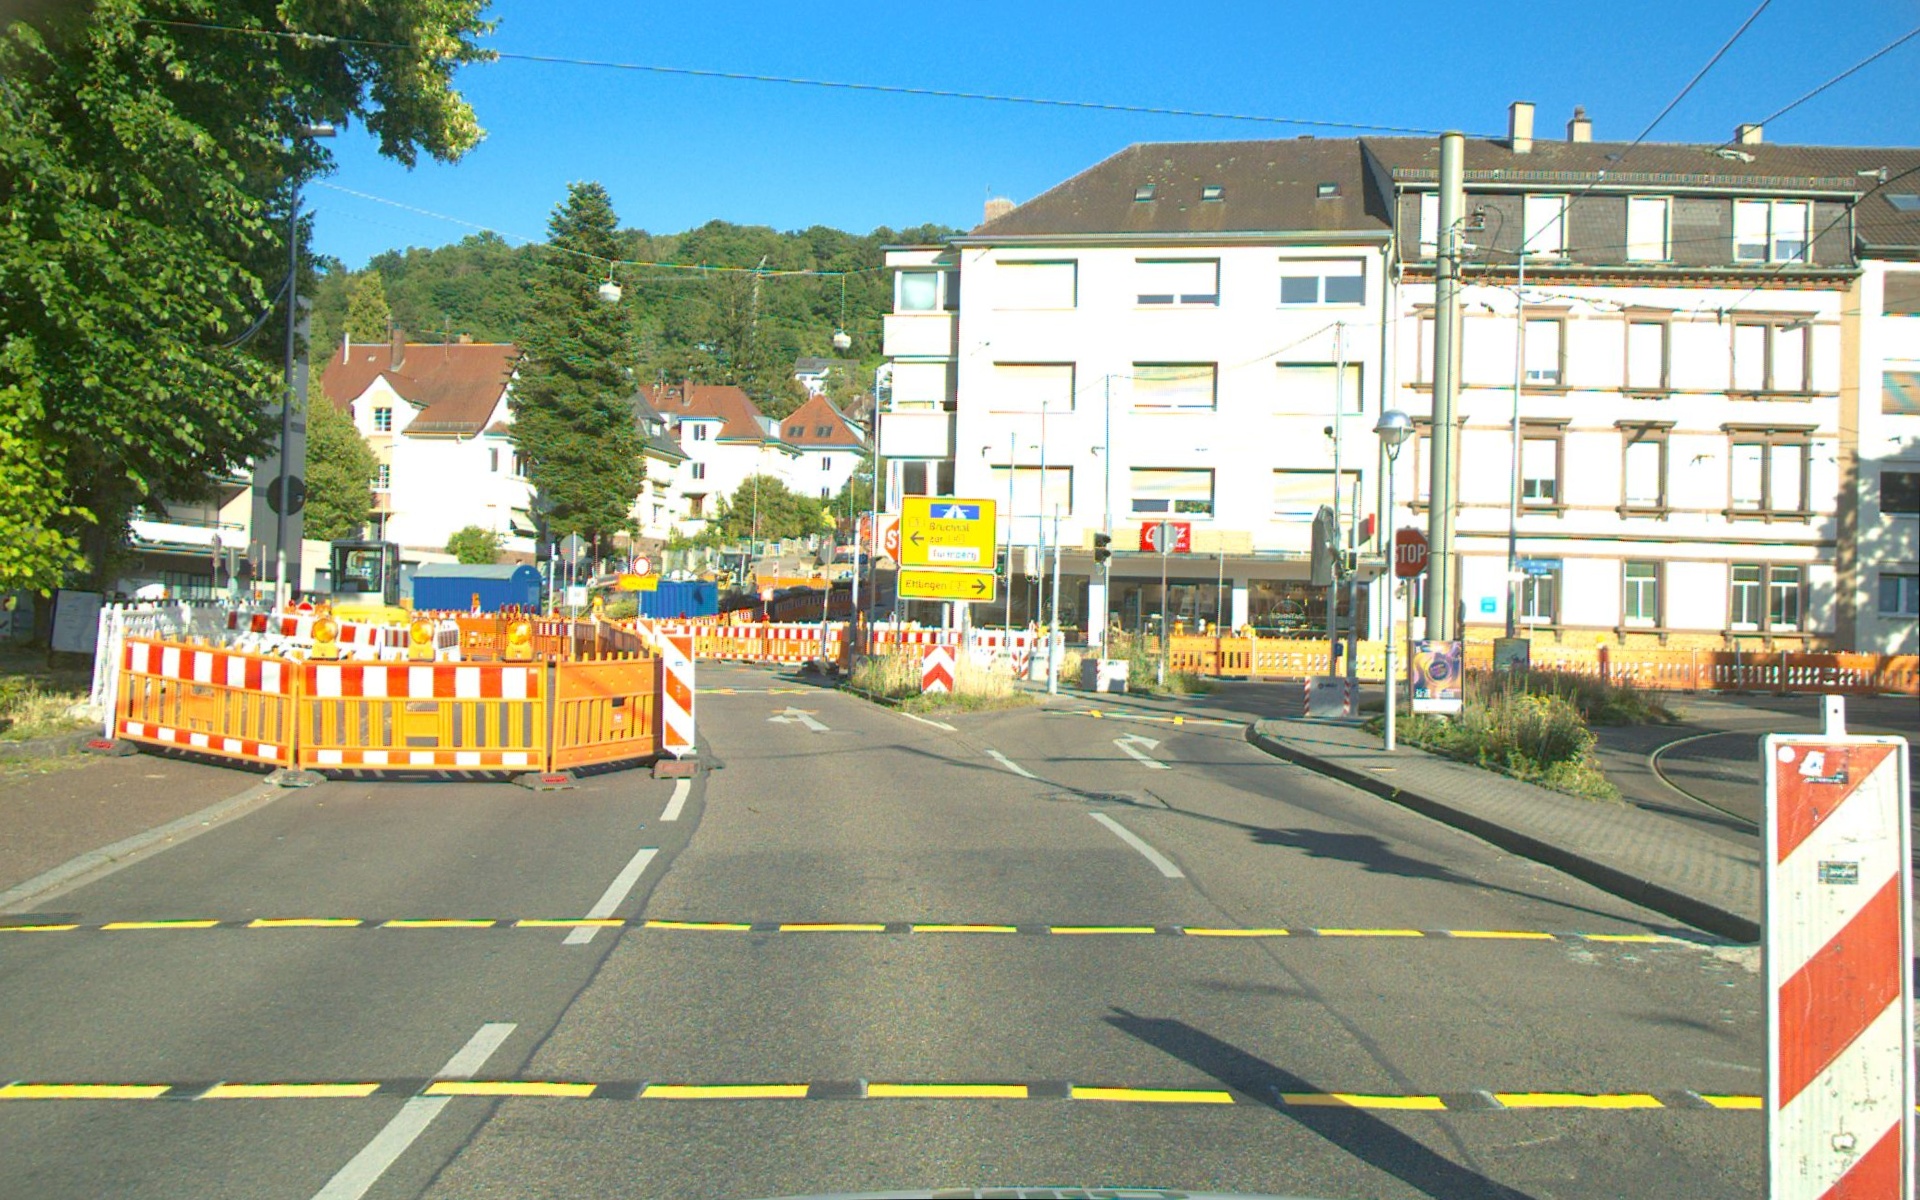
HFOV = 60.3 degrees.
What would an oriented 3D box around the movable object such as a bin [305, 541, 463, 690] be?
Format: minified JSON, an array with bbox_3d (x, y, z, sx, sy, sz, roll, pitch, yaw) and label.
[{"bbox_3d":[-9.888,0.260,28.661,1.614,2.365,3.916,1,0,-5],"label":"movable object such as a bin"}]

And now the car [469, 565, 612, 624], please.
[{"bbox_3d":[-16.470,-0.163,65.358,2.529,2.158,6.153,1,-1,18],"label":"car"}]

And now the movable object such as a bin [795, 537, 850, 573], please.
[{"bbox_3d":[-9.448,-3.072,114.110,2.510,2.159,5.789,1,-1,9],"label":"movable object such as a bin"}]

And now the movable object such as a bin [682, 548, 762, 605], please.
[{"bbox_3d":[-11.196,-1.088,78.158,1.907,2.538,4.553,0,-1,18],"label":"movable object such as a bin"}]
